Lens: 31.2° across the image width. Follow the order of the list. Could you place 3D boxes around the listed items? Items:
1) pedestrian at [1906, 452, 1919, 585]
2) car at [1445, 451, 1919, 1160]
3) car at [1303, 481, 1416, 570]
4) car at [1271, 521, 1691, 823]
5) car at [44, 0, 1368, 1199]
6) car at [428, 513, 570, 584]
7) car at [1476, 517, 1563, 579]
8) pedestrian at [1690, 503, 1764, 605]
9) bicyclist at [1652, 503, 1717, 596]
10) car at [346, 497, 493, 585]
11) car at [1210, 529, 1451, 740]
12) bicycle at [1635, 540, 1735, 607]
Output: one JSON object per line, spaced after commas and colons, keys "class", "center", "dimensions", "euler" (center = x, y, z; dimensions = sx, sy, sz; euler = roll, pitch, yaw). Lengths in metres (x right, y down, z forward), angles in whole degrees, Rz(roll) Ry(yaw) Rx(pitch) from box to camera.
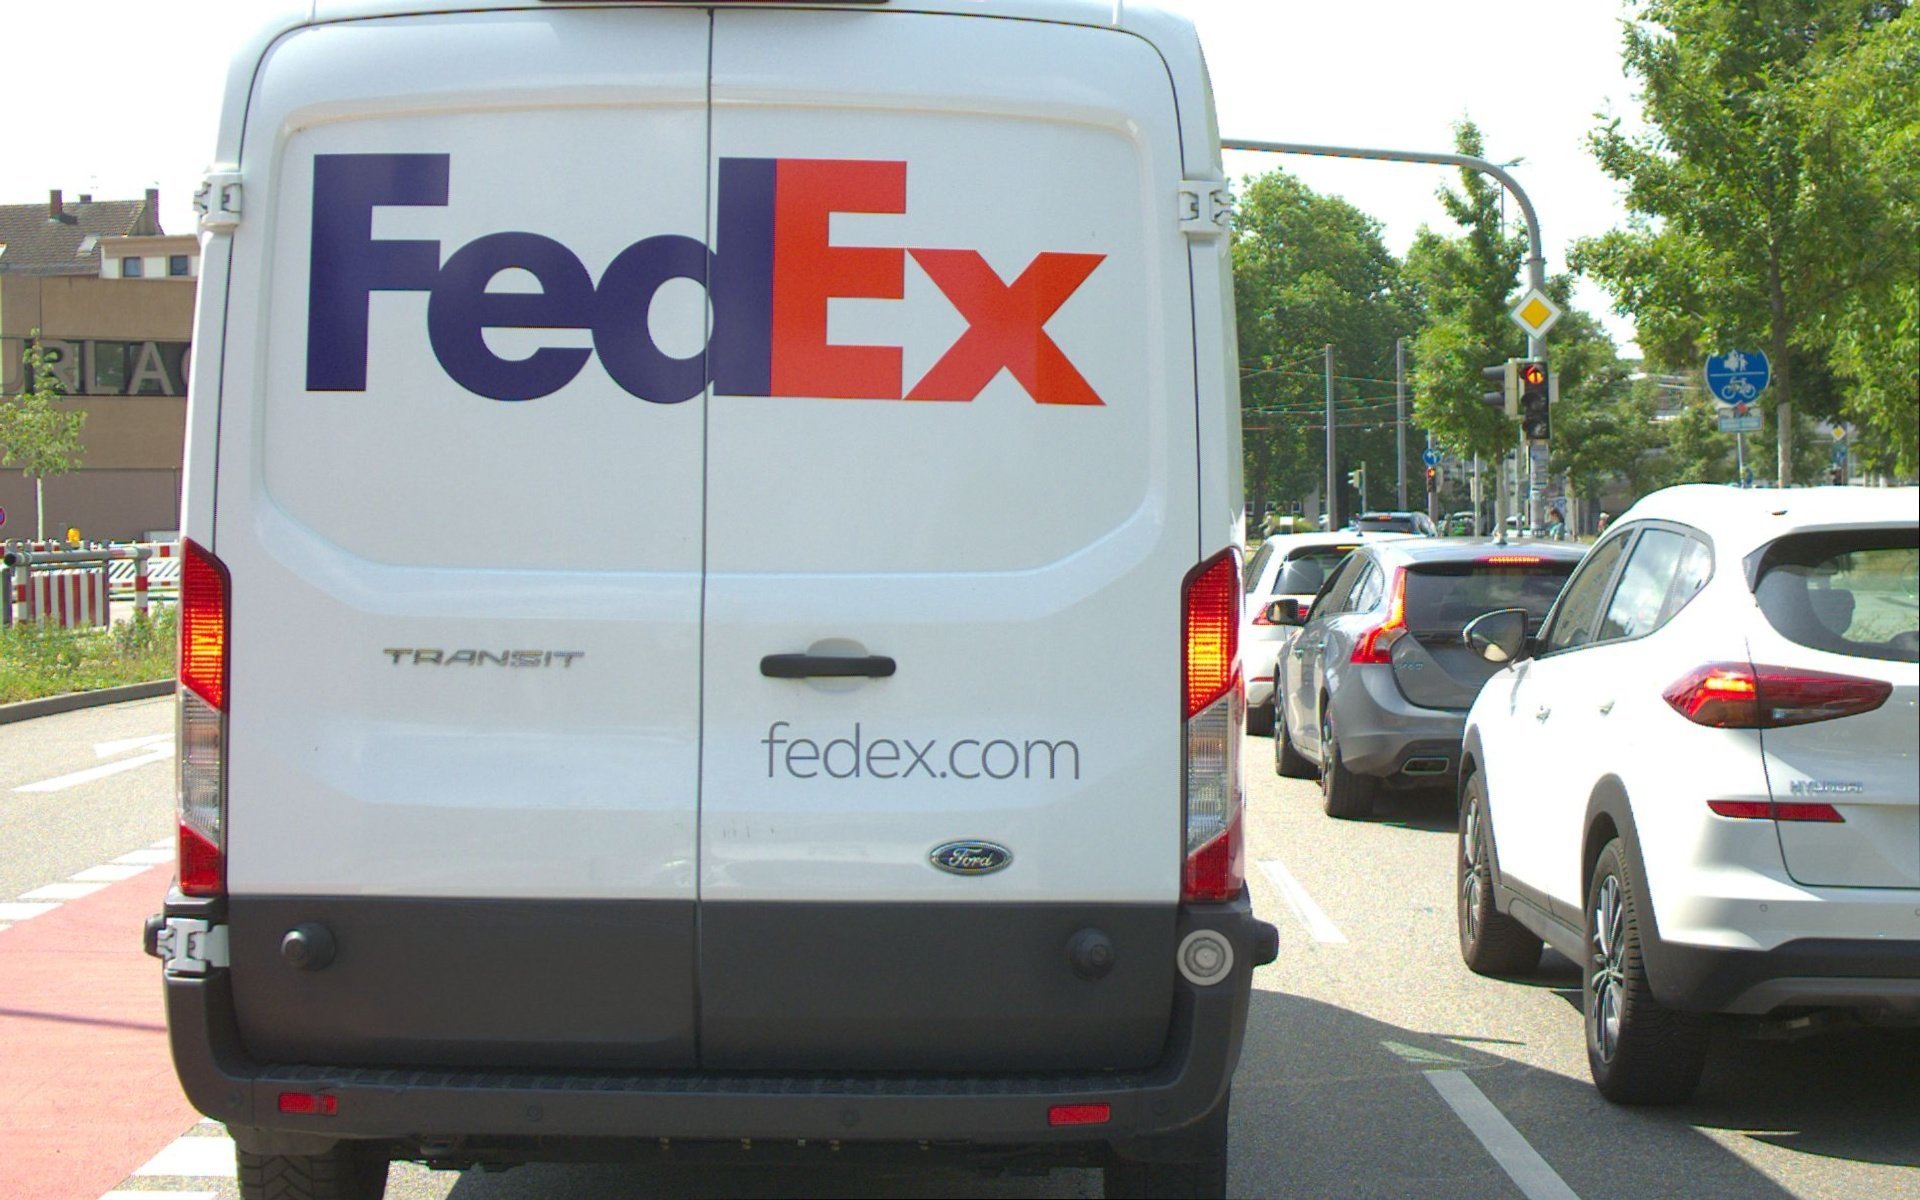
{"class": "pedestrian", "center": [15.193, -1.268, 53.295], "dimensions": [0.740, 2.051, 0.846], "euler": [1, 2, 39]}
{"class": "car", "center": [2.566, 0.432, 10.135], "dimensions": [1.798, 1.681, 4.000], "euler": [0, 2, 1]}
{"class": "car", "center": [9.381, -1.733, 80.446], "dimensions": [2.094, 2.007, 4.641], "euler": [0, 1, 13]}
{"class": "car", "center": [2.735, 0.312, 18.819], "dimensions": [1.798, 1.456, 3.838], "euler": [0, 2, 1]}
{"class": "car", "center": [-0.534, -0.043, 8.435], "dimensions": [2.140, 2.643, 5.705], "euler": [0, 1, -3]}
{"class": "car", "center": [-10.598, -1.195, 79.375], "dimensions": [1.902, 1.579, 3.998], "euler": [0, 1, 14]}
{"class": "car", "center": [16.721, -1.561, 102.636], "dimensions": [1.995, 1.787, 4.368], "euler": [0, 1, 17]}
{"class": "pedestrian", "center": [10.551, -0.639, 47.325], "dimensions": [0.845, 1.384, 0.741], "euler": [-1, 1, -1]}
{"class": "bicyclist", "center": [11.590, -0.819, 55.001], "dimensions": [0.968, 1.469, 0.551], "euler": [-2, 2, -42]}
{"class": "car", "center": [-12.701, -1.379, 81.051], "dimensions": [1.995, 2.007, 3.998], "euler": [0, 1, 14]}
{"class": "car", "center": [2.683, 0.201, 25.456], "dimensions": [1.484, 1.423, 3.433], "euler": [0, 2, 1]}
{"class": "bicycle", "center": [11.610, -0.429, 55.017], "dimensions": [1.921, 1.027, 0.547], "euler": [-2, 2, -42]}
